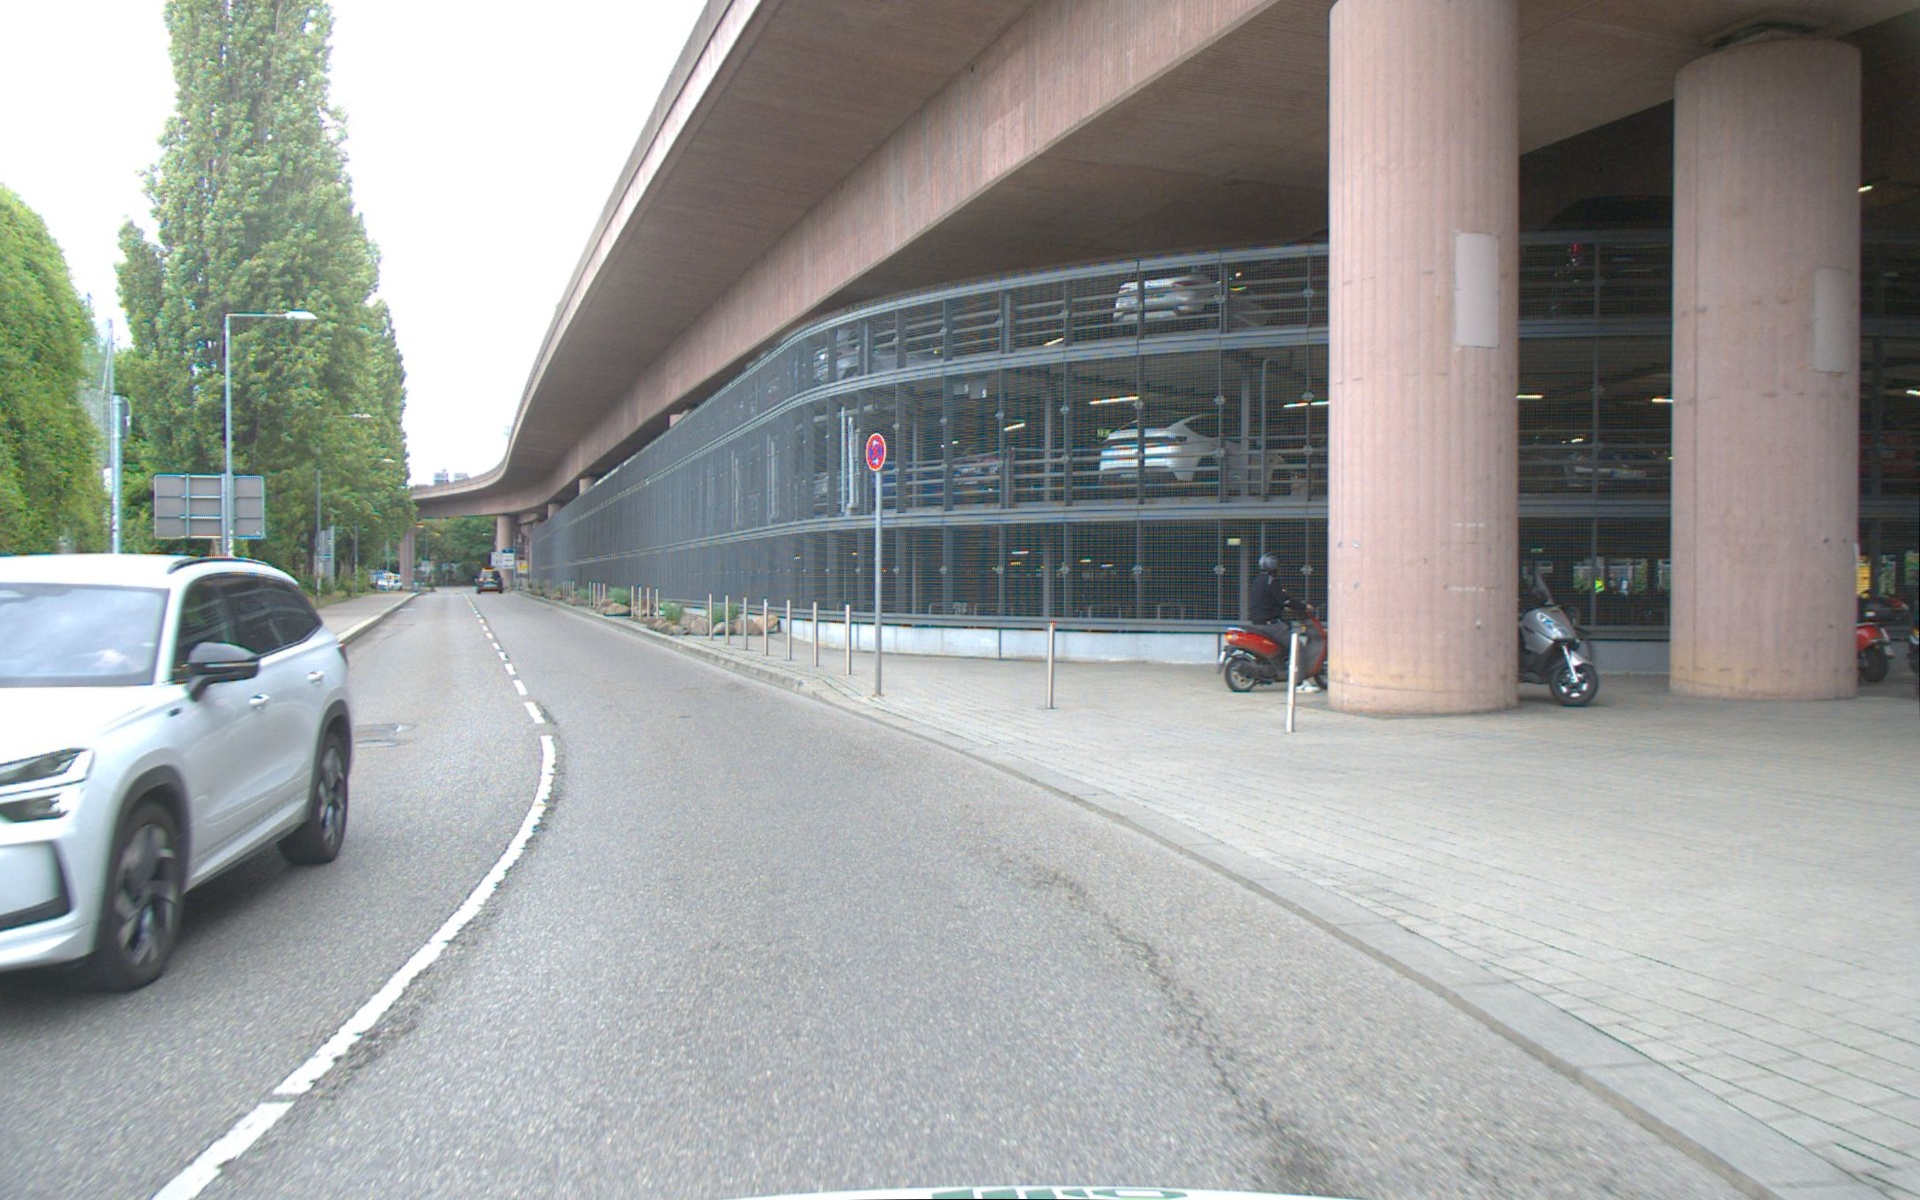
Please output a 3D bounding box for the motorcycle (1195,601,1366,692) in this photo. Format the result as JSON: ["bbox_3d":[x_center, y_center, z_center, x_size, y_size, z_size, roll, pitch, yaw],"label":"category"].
[{"bbox_3d":[3.912,0.551,20.241,1.914,1.040,0.747,0,2,-10],"label":"motorcycle"}]

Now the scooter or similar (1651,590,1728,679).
[{"bbox_3d":[10.025,0.457,22.756,0.391,1.153,1.249,0,2,-6],"label":"scooter or similar"}]

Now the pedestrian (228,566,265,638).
[{"bbox_3d":[-18.503,0.033,42.907,0.792,1.811,0.915,-1,2,-20],"label":"pedestrian"}]

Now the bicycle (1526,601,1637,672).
[{"bbox_3d":[9.031,0.531,24.081,1.441,0.993,0.452,0,2,8],"label":"bicycle"}]

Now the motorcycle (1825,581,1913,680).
[{"bbox_3d":[11.888,0.383,21.669,0.509,1.241,1.151,0,2,0],"label":"motorcycle"}]

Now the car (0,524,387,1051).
[{"bbox_3d":[-4.026,0.525,7.442,1.829,1.712,4.399,0,2,-7],"label":"car"}]

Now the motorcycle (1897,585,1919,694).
[{"bbox_3d":[10.904,0.440,18.500,0.509,1.191,1.151,1,-1,19],"label":"motorcycle"}]

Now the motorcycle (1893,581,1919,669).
[{"bbox_3d":[14.155,0.386,23.114,0.661,1.241,2.070,-1,2,-16],"label":"motorcycle"}]

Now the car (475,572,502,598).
[{"bbox_3d":[-34.785,-1.119,122.015,1.810,1.741,3.688,-1,2,-17],"label":"car"}]

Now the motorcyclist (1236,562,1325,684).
[{"bbox_3d":[3.913,0.268,20.246,0.851,1.444,0.763,0,2,-9],"label":"motorcyclist"}]

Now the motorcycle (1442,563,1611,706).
[{"bbox_3d":[6.236,0.343,18.298,0.636,1.480,1.743,-1,3,-33],"label":"motorcycle"}]
